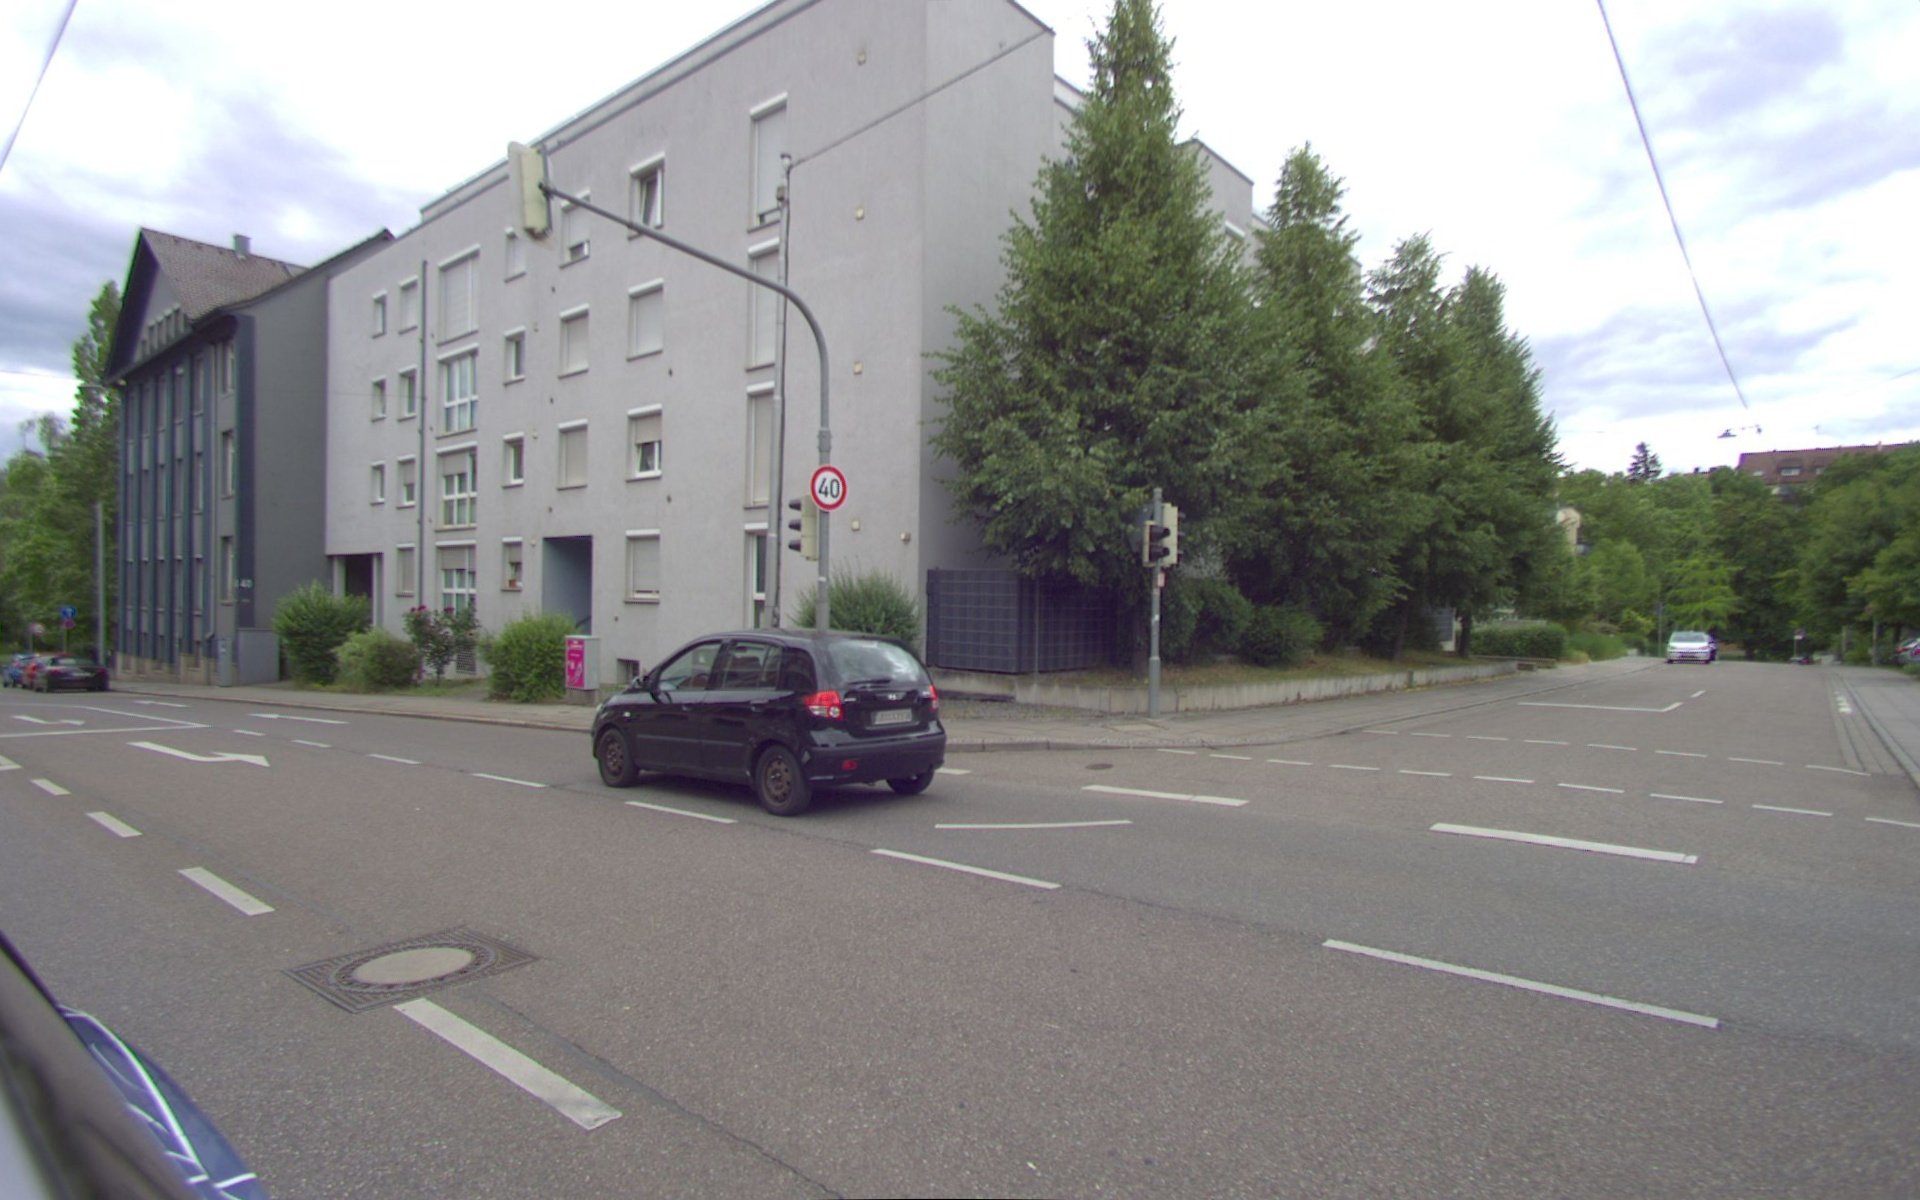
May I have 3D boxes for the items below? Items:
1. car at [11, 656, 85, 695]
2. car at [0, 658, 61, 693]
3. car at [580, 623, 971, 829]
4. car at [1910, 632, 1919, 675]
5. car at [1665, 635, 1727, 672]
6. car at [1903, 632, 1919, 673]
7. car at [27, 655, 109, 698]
[{"bbox_3d":[-37.455,3.063,41.538,3.998,1.420,1.776,-2,-2,41],"label":"car"},{"bbox_3d":[-41.579,3.323,45.094,3.998,1.420,1.776,-2,-2,41],"label":"car"},{"bbox_3d":[-1.779,0.970,9.102,3.614,1.475,1.571,-2,-2,41],"label":"car"},{"bbox_3d":[37.997,1.978,37.452,3.998,1.597,1.973,-2,-2,41],"label":"car"},{"bbox_3d":[34.299,2.450,47.139,1.999,1.597,3.946,-2,-2,41],"label":"car"},{"bbox_3d":[39.861,2.052,39.735,3.998,1.597,1.973,-2,-2,41],"label":"car"},{"bbox_3d":[-33.187,2.793,37.623,3.998,1.420,1.776,-2,-2,41],"label":"car"}]
